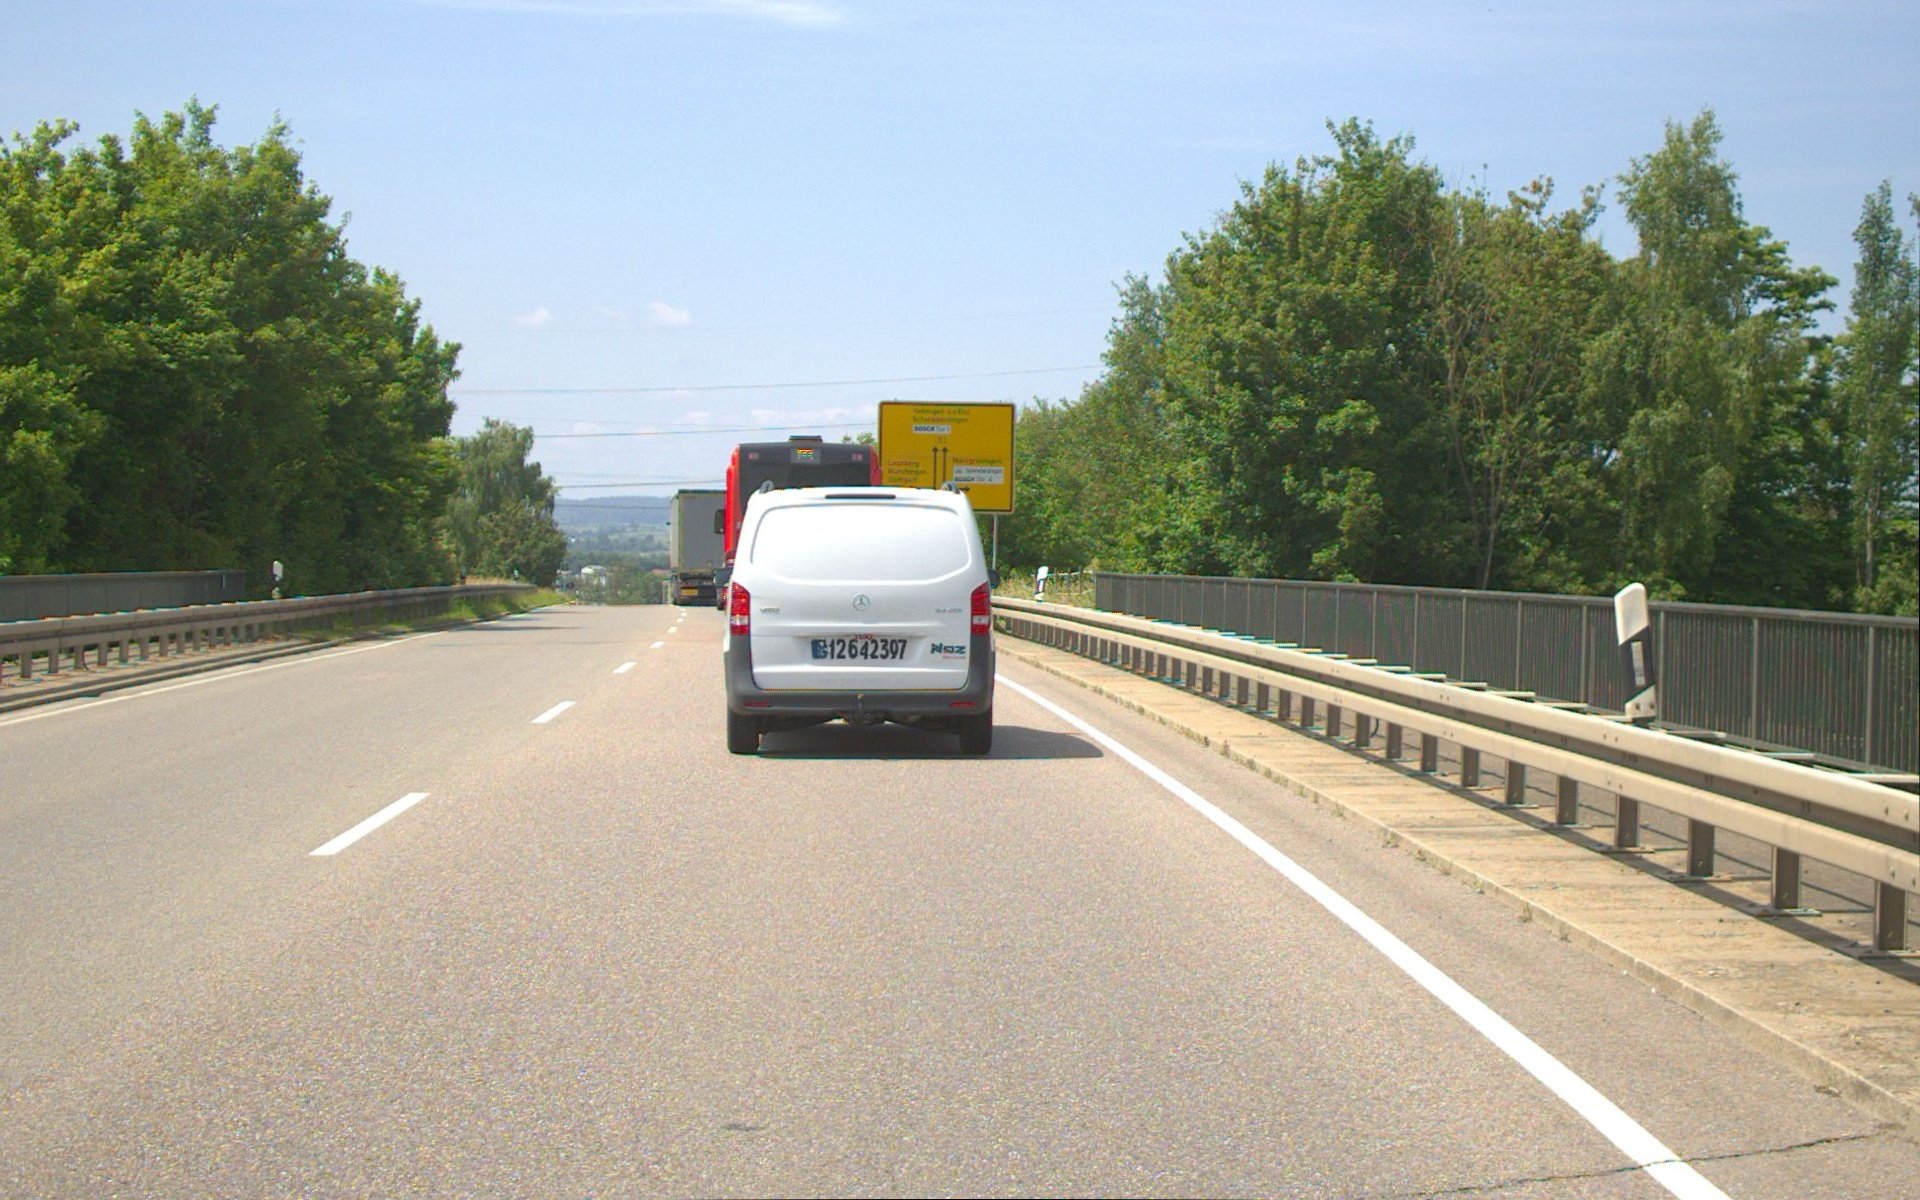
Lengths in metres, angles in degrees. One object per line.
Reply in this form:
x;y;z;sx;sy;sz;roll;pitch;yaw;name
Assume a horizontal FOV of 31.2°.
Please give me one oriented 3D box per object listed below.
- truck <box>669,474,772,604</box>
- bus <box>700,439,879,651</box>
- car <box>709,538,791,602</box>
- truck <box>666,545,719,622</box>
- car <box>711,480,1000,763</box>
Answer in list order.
-8.679;-2.242;124.653;3.488;4.408;14.905;0;1;-4;truck
-3.189;-1.006;60.991;2.746;3.342;13.224;0;1;-5;bus
-6.228;-0.899;101.655;1.993;1.809;4.001;1;1;-9;car
-16.418;-1.082;210.348;3.034;4.439;14.906;0;1;-5;truck
-0.779;0.104;25.217;1.923;1.883;4.001;1;1;-2;car
